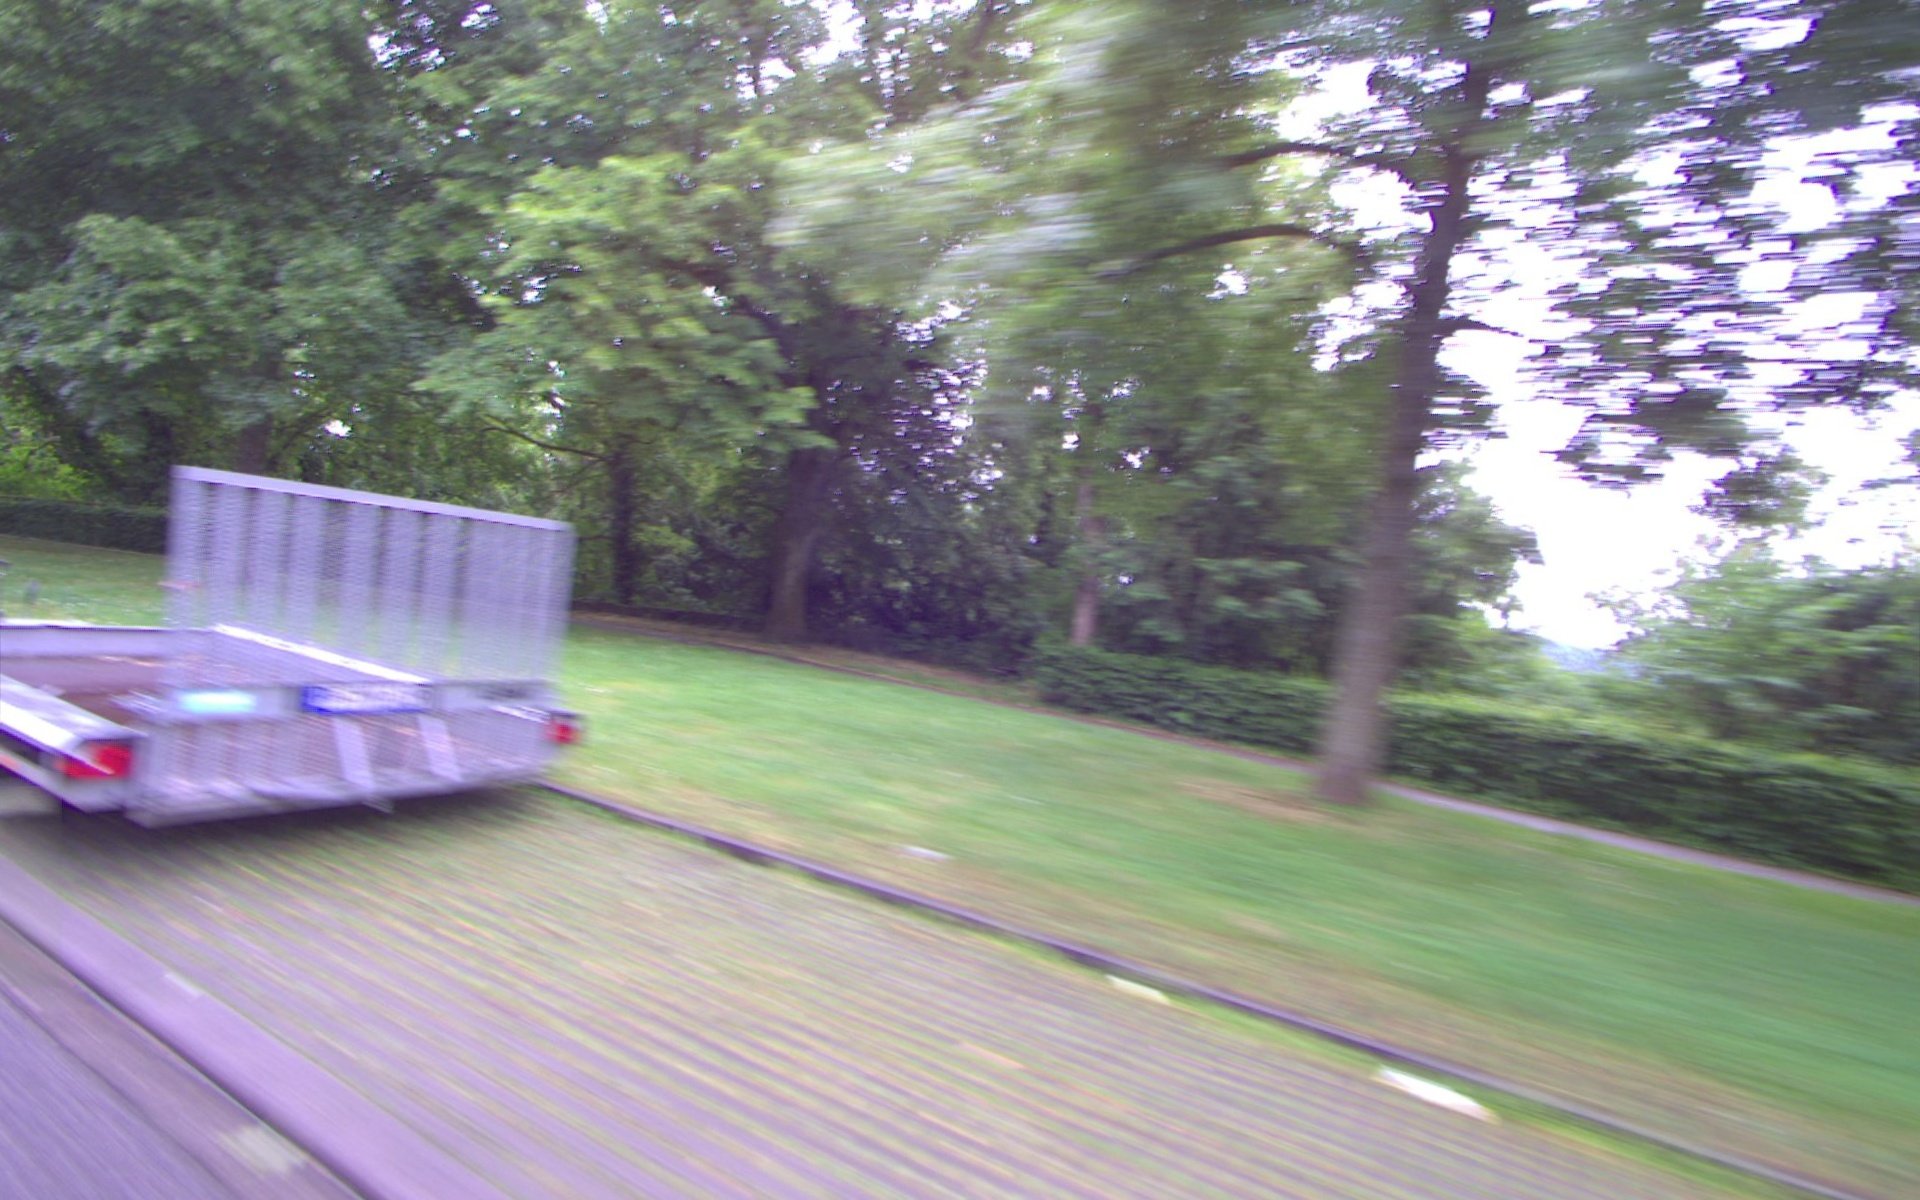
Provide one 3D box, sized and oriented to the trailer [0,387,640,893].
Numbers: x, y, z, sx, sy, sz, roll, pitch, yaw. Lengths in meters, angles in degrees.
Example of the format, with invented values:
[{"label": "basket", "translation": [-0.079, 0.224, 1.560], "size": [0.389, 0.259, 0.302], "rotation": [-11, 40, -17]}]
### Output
[{"label": "trailer", "translation": [-4.999, -0.033, 6.174], "size": [5.793, 1.835, 2.452], "rotation": [6, 0, 31]}]
